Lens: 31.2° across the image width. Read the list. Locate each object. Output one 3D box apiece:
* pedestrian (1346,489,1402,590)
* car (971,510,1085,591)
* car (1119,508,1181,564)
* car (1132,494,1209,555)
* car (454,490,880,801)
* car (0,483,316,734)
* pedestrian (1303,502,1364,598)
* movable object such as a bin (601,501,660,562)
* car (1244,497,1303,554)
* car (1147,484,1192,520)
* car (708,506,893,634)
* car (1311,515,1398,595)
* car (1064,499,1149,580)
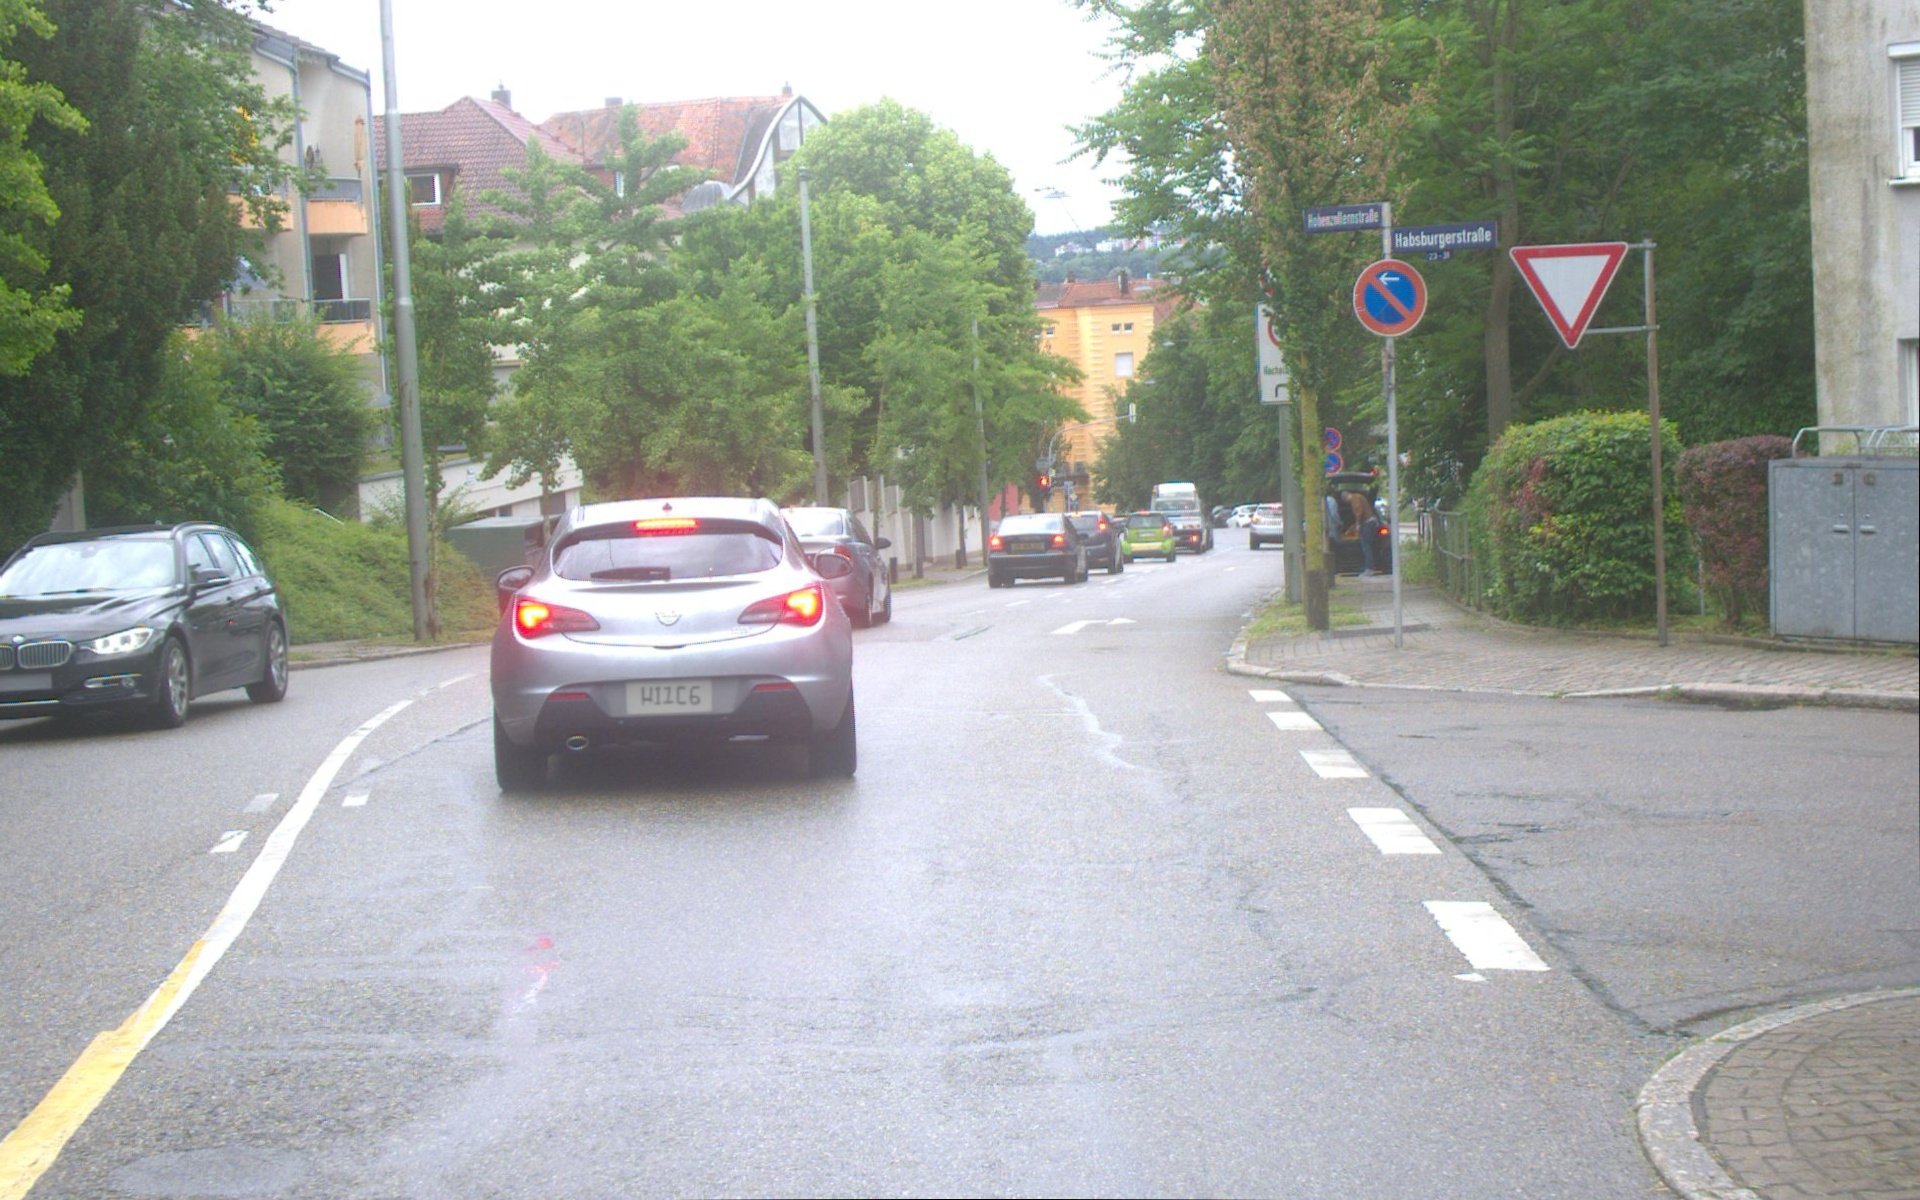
[{"bbox_3d":[7.726,-1.128,64.214,0.663,1.830,0.689,-5,1,-18],"label":"pedestrian"},{"bbox_3d":[1.350,-0.990,67.105,1.961,1.467,3.950,1,2,5],"label":"car"},{"bbox_3d":[5.743,-1.931,103.536,1.754,1.645,3.999,1,1,5],"label":"car"},{"bbox_3d":[7.238,-2.620,117.975,2.334,2.029,4.734,1,2,7],"label":"car"},{"bbox_3d":[-1.463,0.159,18.594,1.945,1.427,3.885,-2,2,0],"label":"car"},{"bbox_3d":[-6.264,0.056,25.235,1.911,1.579,4.586,-6,1,2],"label":"car"},{"bbox_3d":[6.970,-0.936,64.205,0.734,1.718,0.765,-5,1,-18],"label":"pedestrian"},{"bbox_3d":[-7.718,-1.603,80.452,1.272,1.382,0.489,-1,2,5],"label":"movable object such as a bin"},{"bbox_3d":[11.530,-2.759,126.248,1.994,2.029,4.734,1,2,7],"label":"car"},{"bbox_3d":[10.453,-4.892,171.399,1.994,1.778,3.999,1,2,7],"label":"car"},{"bbox_3d":[-1.771,-0.380,39.315,1.798,1.318,4.000,-1,2,1],"label":"car"},{"bbox_3d":[7.599,-0.869,66.454,1.504,1.430,3.999,-3,0,5],"label":"car"},{"bbox_3d":[3.371,-1.417,78.765,1.769,1.775,3.976,1,2,5],"label":"car"}]
